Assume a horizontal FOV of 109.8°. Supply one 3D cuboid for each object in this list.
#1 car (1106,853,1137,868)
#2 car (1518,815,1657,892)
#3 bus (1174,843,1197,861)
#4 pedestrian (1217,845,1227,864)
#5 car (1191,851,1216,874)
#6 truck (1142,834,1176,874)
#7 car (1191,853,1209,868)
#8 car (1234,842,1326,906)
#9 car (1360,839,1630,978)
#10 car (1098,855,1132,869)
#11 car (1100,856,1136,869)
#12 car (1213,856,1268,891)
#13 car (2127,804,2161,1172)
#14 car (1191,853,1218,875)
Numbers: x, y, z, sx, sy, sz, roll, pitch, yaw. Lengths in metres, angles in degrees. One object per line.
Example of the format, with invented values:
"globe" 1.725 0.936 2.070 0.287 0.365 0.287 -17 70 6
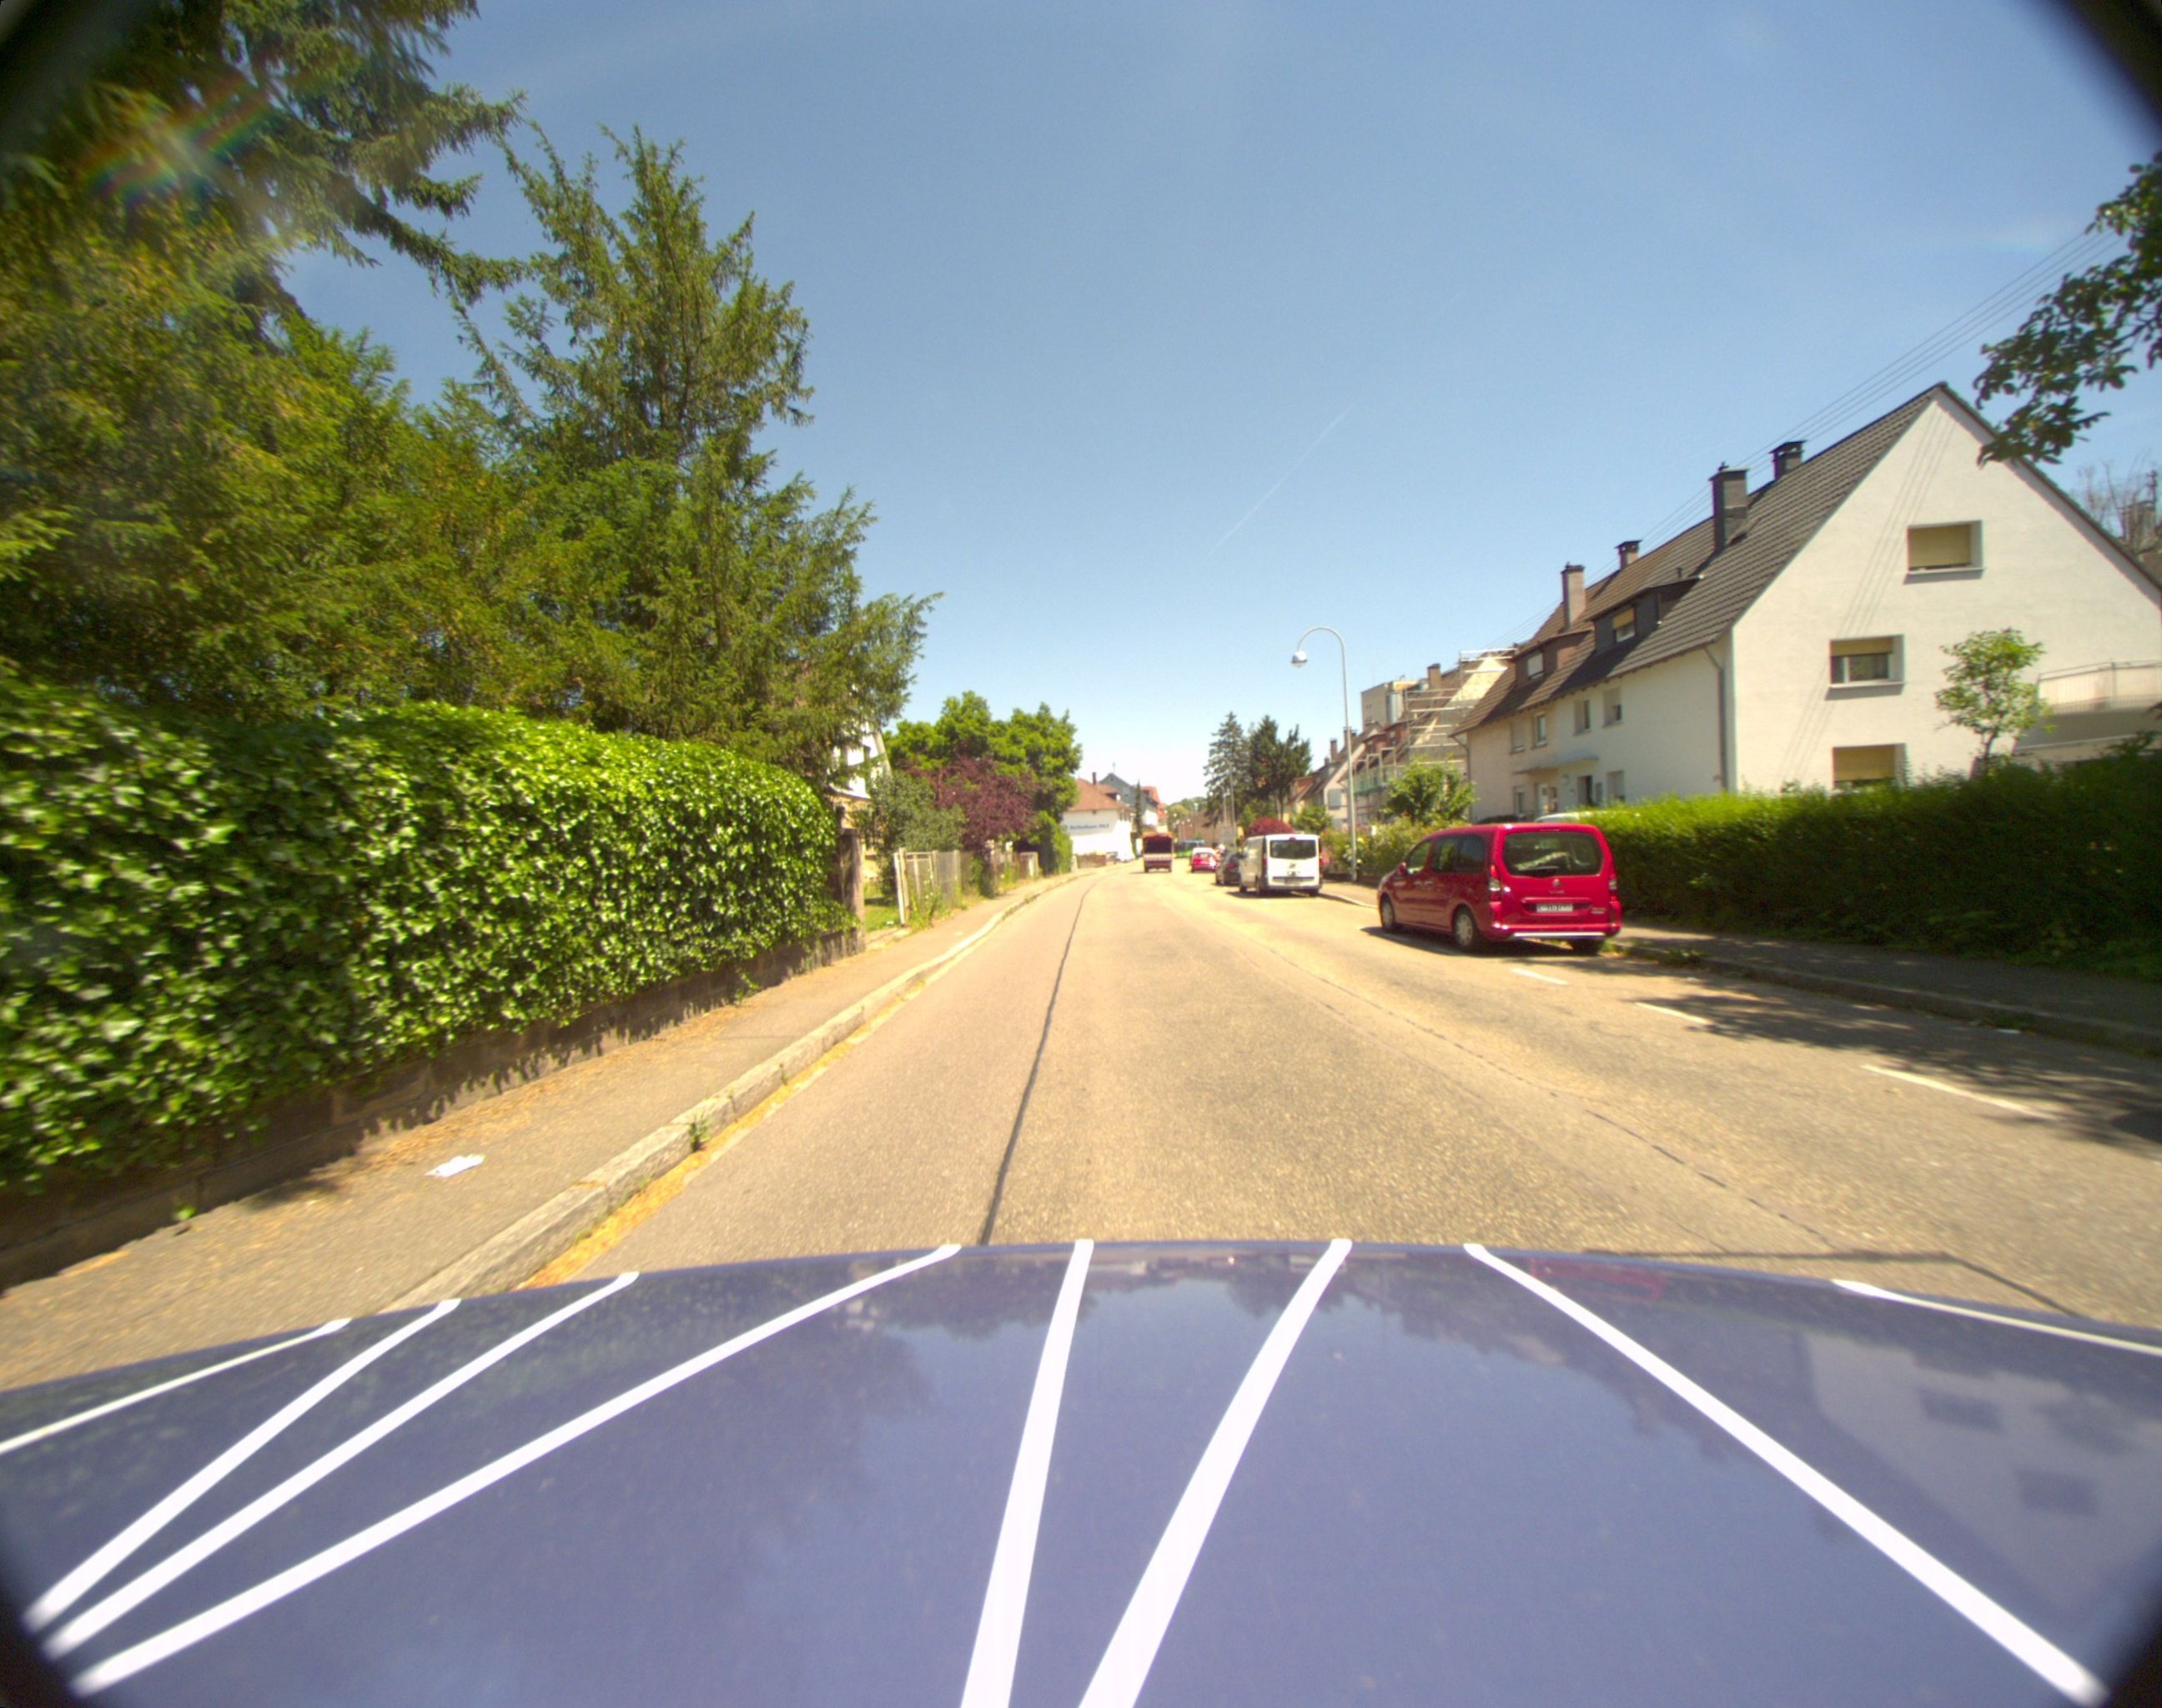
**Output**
"car" 5.736 0.913 107.394 4.300 1.820 1.740 -5 0 4
"car" 13.987 -0.033 21.264 1.718 1.859 4.003 -4 0 11
"bus" 19.169 -0.435 138.577 2.908 3.062 12.574 -2 0 14
"pedestrian" 14.109 0.032 75.876 0.690 1.878 1.019 -7 0 14
"car" 9.284 0.604 57.736 1.726 1.726 3.889 0 0 8
"truck" 5.756 -0.006 56.558 2.378 2.813 5.660 -1 0 5
"car" 12.019 0.658 76.456 1.772 1.430 4.365 0 0 9
"car" 6.415 0.602 25.096 1.891 1.870 4.981 -1 0 2
"car" 5.951 0.676 11.646 1.762 1.717 4.458 0 0 1
"car" 4.554 1.131 102.021 4.293 1.539 1.759 -5 1 44
"car" 5.102 1.138 104.910 4.647 1.400 1.771 -5 -1 13
"car" 6.716 0.775 32.299 1.702 1.376 4.236 0 0 4
"car" 5.886 0.628 1.523 1.652 1.742 4.354 -1 0 2
"car" 8.586 0.663 52.519 1.763 1.469 4.061 0 0 10
